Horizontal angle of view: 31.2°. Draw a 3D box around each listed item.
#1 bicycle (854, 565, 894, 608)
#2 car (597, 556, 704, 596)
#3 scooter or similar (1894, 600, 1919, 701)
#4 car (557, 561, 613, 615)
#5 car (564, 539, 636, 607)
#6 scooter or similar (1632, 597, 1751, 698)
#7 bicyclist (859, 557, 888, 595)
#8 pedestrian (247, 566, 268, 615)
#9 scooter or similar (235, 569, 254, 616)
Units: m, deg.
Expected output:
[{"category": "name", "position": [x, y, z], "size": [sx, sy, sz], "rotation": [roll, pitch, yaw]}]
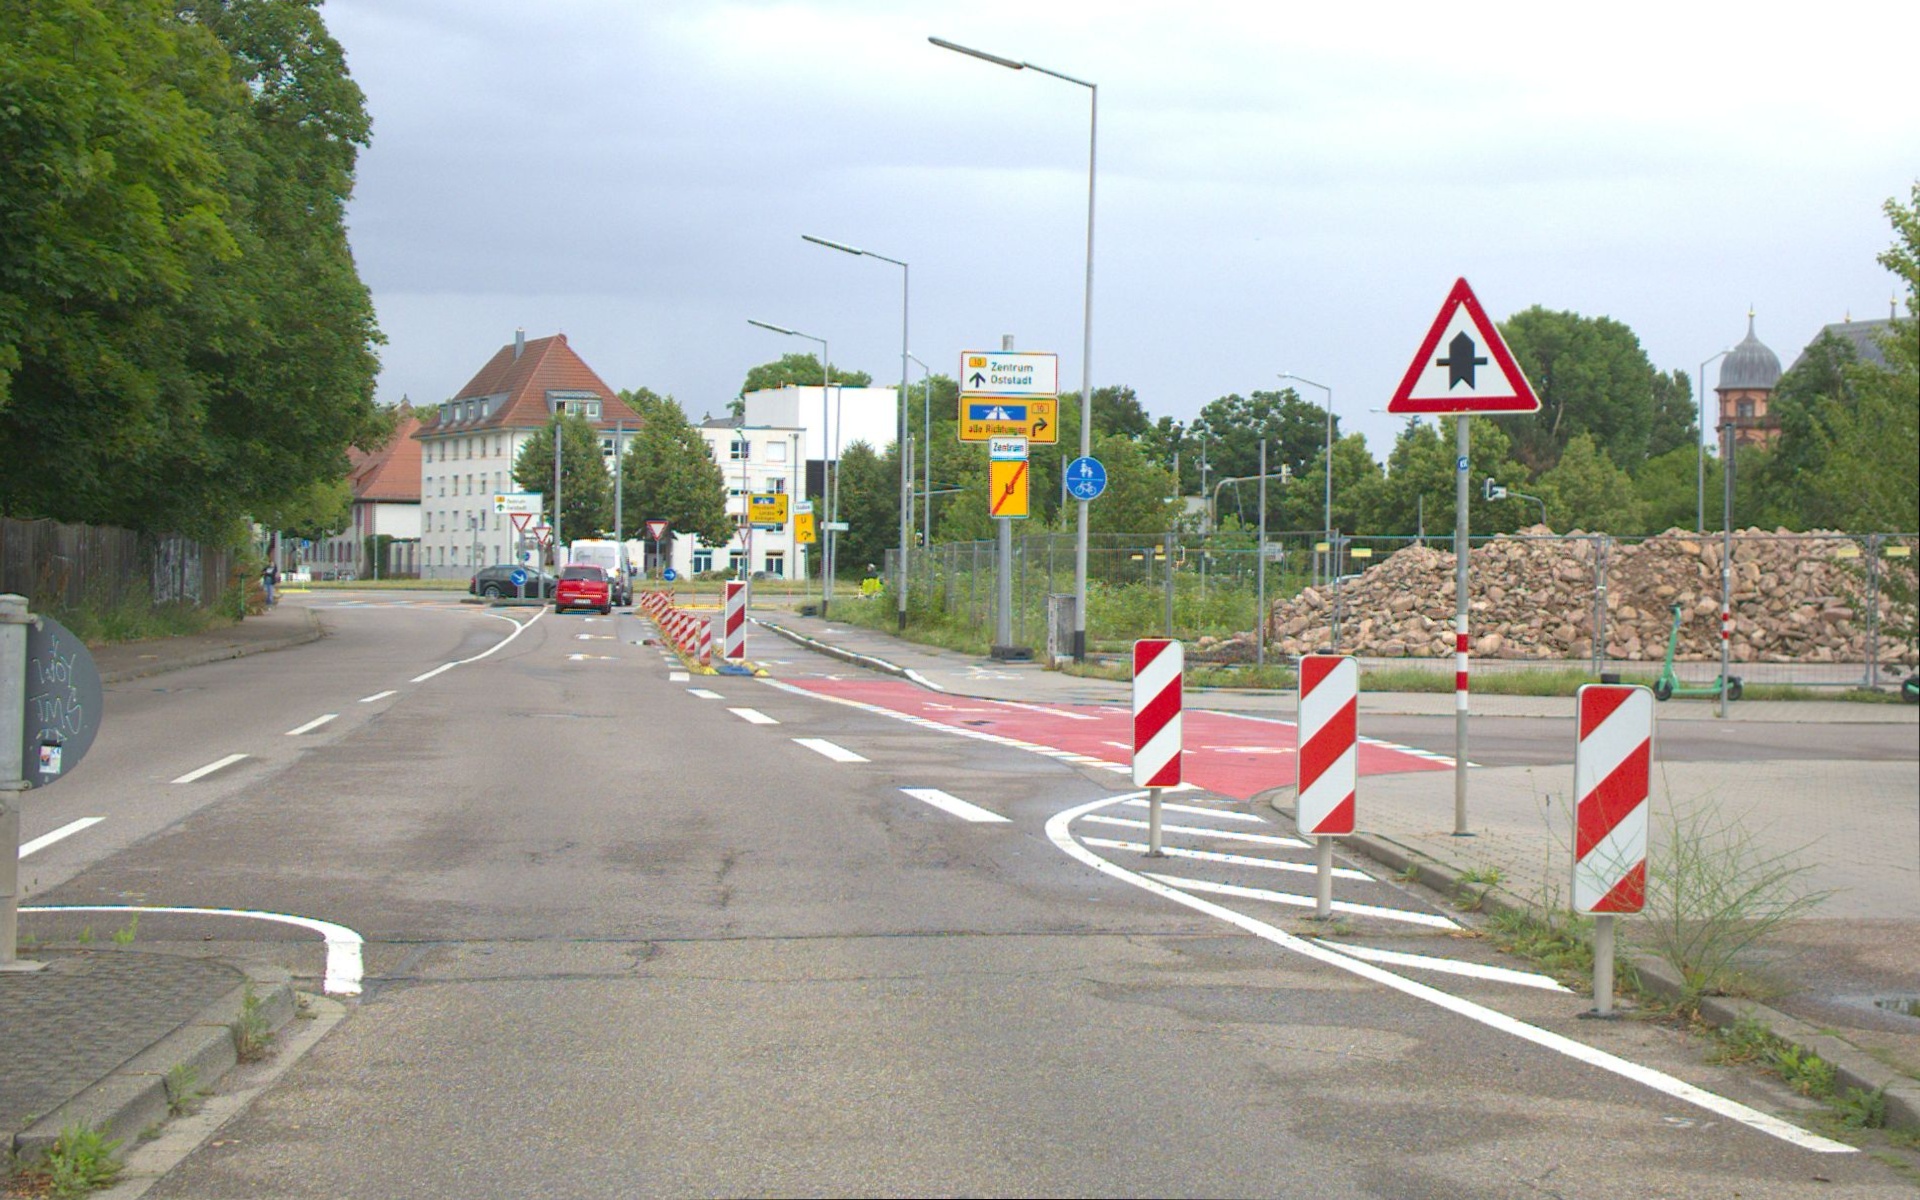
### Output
[{"category": "bicycle", "position": [-3.261, -0.499, 130.370], "size": [1.477, 1.606, 0.606], "rotation": [1, 0, 0]}, {"category": "car", "position": [-14.121, -1.106, 156.663], "size": [4.603, 1.789, 2.111], "rotation": [1, 0, 37]}, {"category": "scooter or similar", "position": [11.679, 0.603, 40.670], "size": [1.171, 1.181, 0.445], "rotation": [1, 0, 20]}, {"category": "car", "position": [-12.023, -0.393, 110.348], "size": [1.673, 1.635, 3.628], "rotation": [2, 0, -6]}, {"category": "car", "position": [-13.973, -1.058, 133.791], "size": [2.195, 2.531, 4.962], "rotation": [2, 0, 0]}, {"category": "scooter or similar", "position": [8.839, 0.565, 41.541], "size": [1.325, 1.181, 0.445], "rotation": [1, 0, 35]}, {"category": "bicyclist", "position": [-3.281, -0.913, 130.364], "size": [1.061, 1.396, 0.615], "rotation": [1, 0, 0]}, {"category": "pedestrian", "position": [-21.786, -0.292, 106.602], "size": [0.612, 1.524, 0.724], "rotation": [1, 0, -10]}, {"category": "scooter or similar", "position": [-18.024, -0.182, 86.602], "size": [0.422, 1.166, 1.304], "rotation": [1, 0, -11]}]
